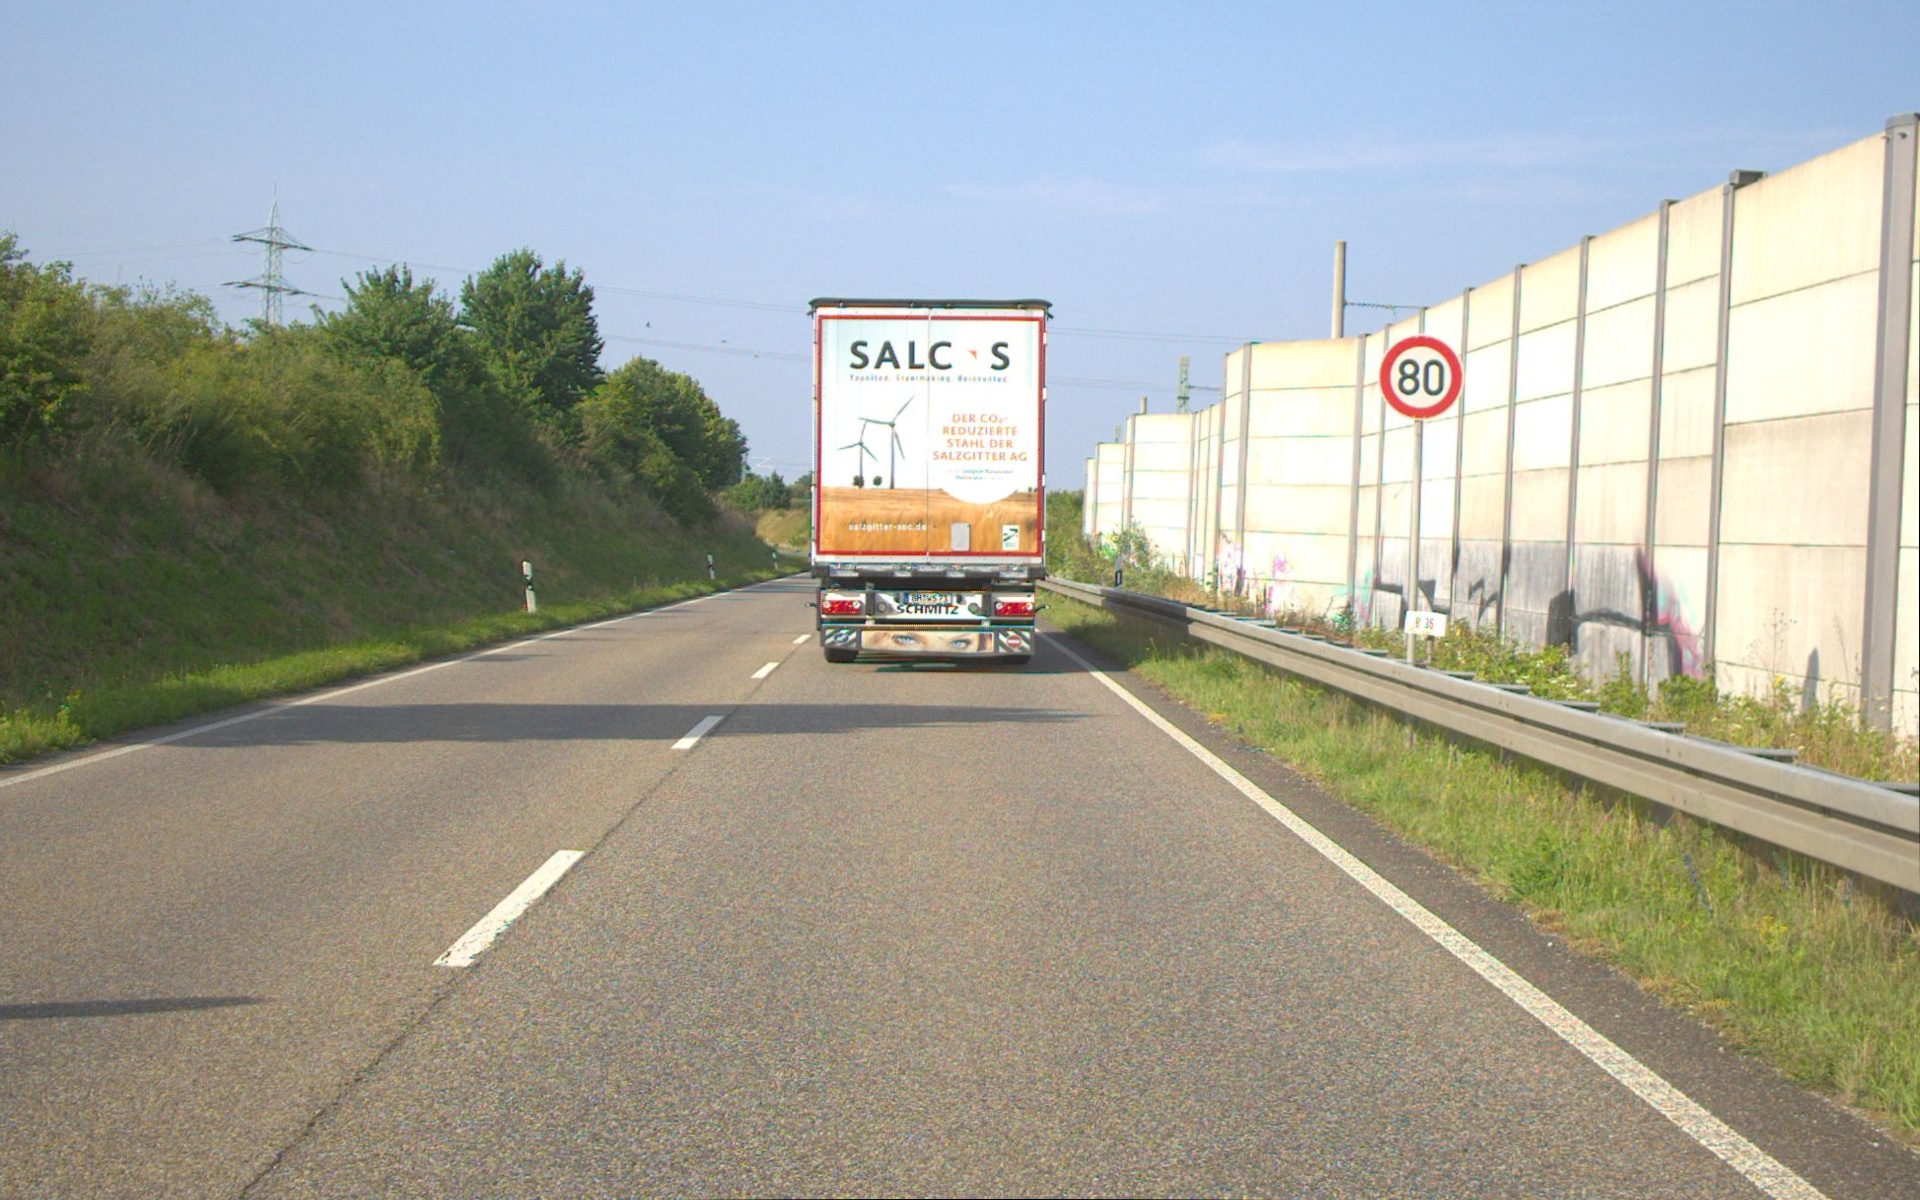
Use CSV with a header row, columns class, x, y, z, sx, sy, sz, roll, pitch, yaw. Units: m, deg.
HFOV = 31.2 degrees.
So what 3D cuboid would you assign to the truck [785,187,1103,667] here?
class,x,y,z,sx,sy,sz,roll,pitch,yaw
truck,-0.412,-2.008,42.910,3.290,5.072,12.039,1,1,-2
